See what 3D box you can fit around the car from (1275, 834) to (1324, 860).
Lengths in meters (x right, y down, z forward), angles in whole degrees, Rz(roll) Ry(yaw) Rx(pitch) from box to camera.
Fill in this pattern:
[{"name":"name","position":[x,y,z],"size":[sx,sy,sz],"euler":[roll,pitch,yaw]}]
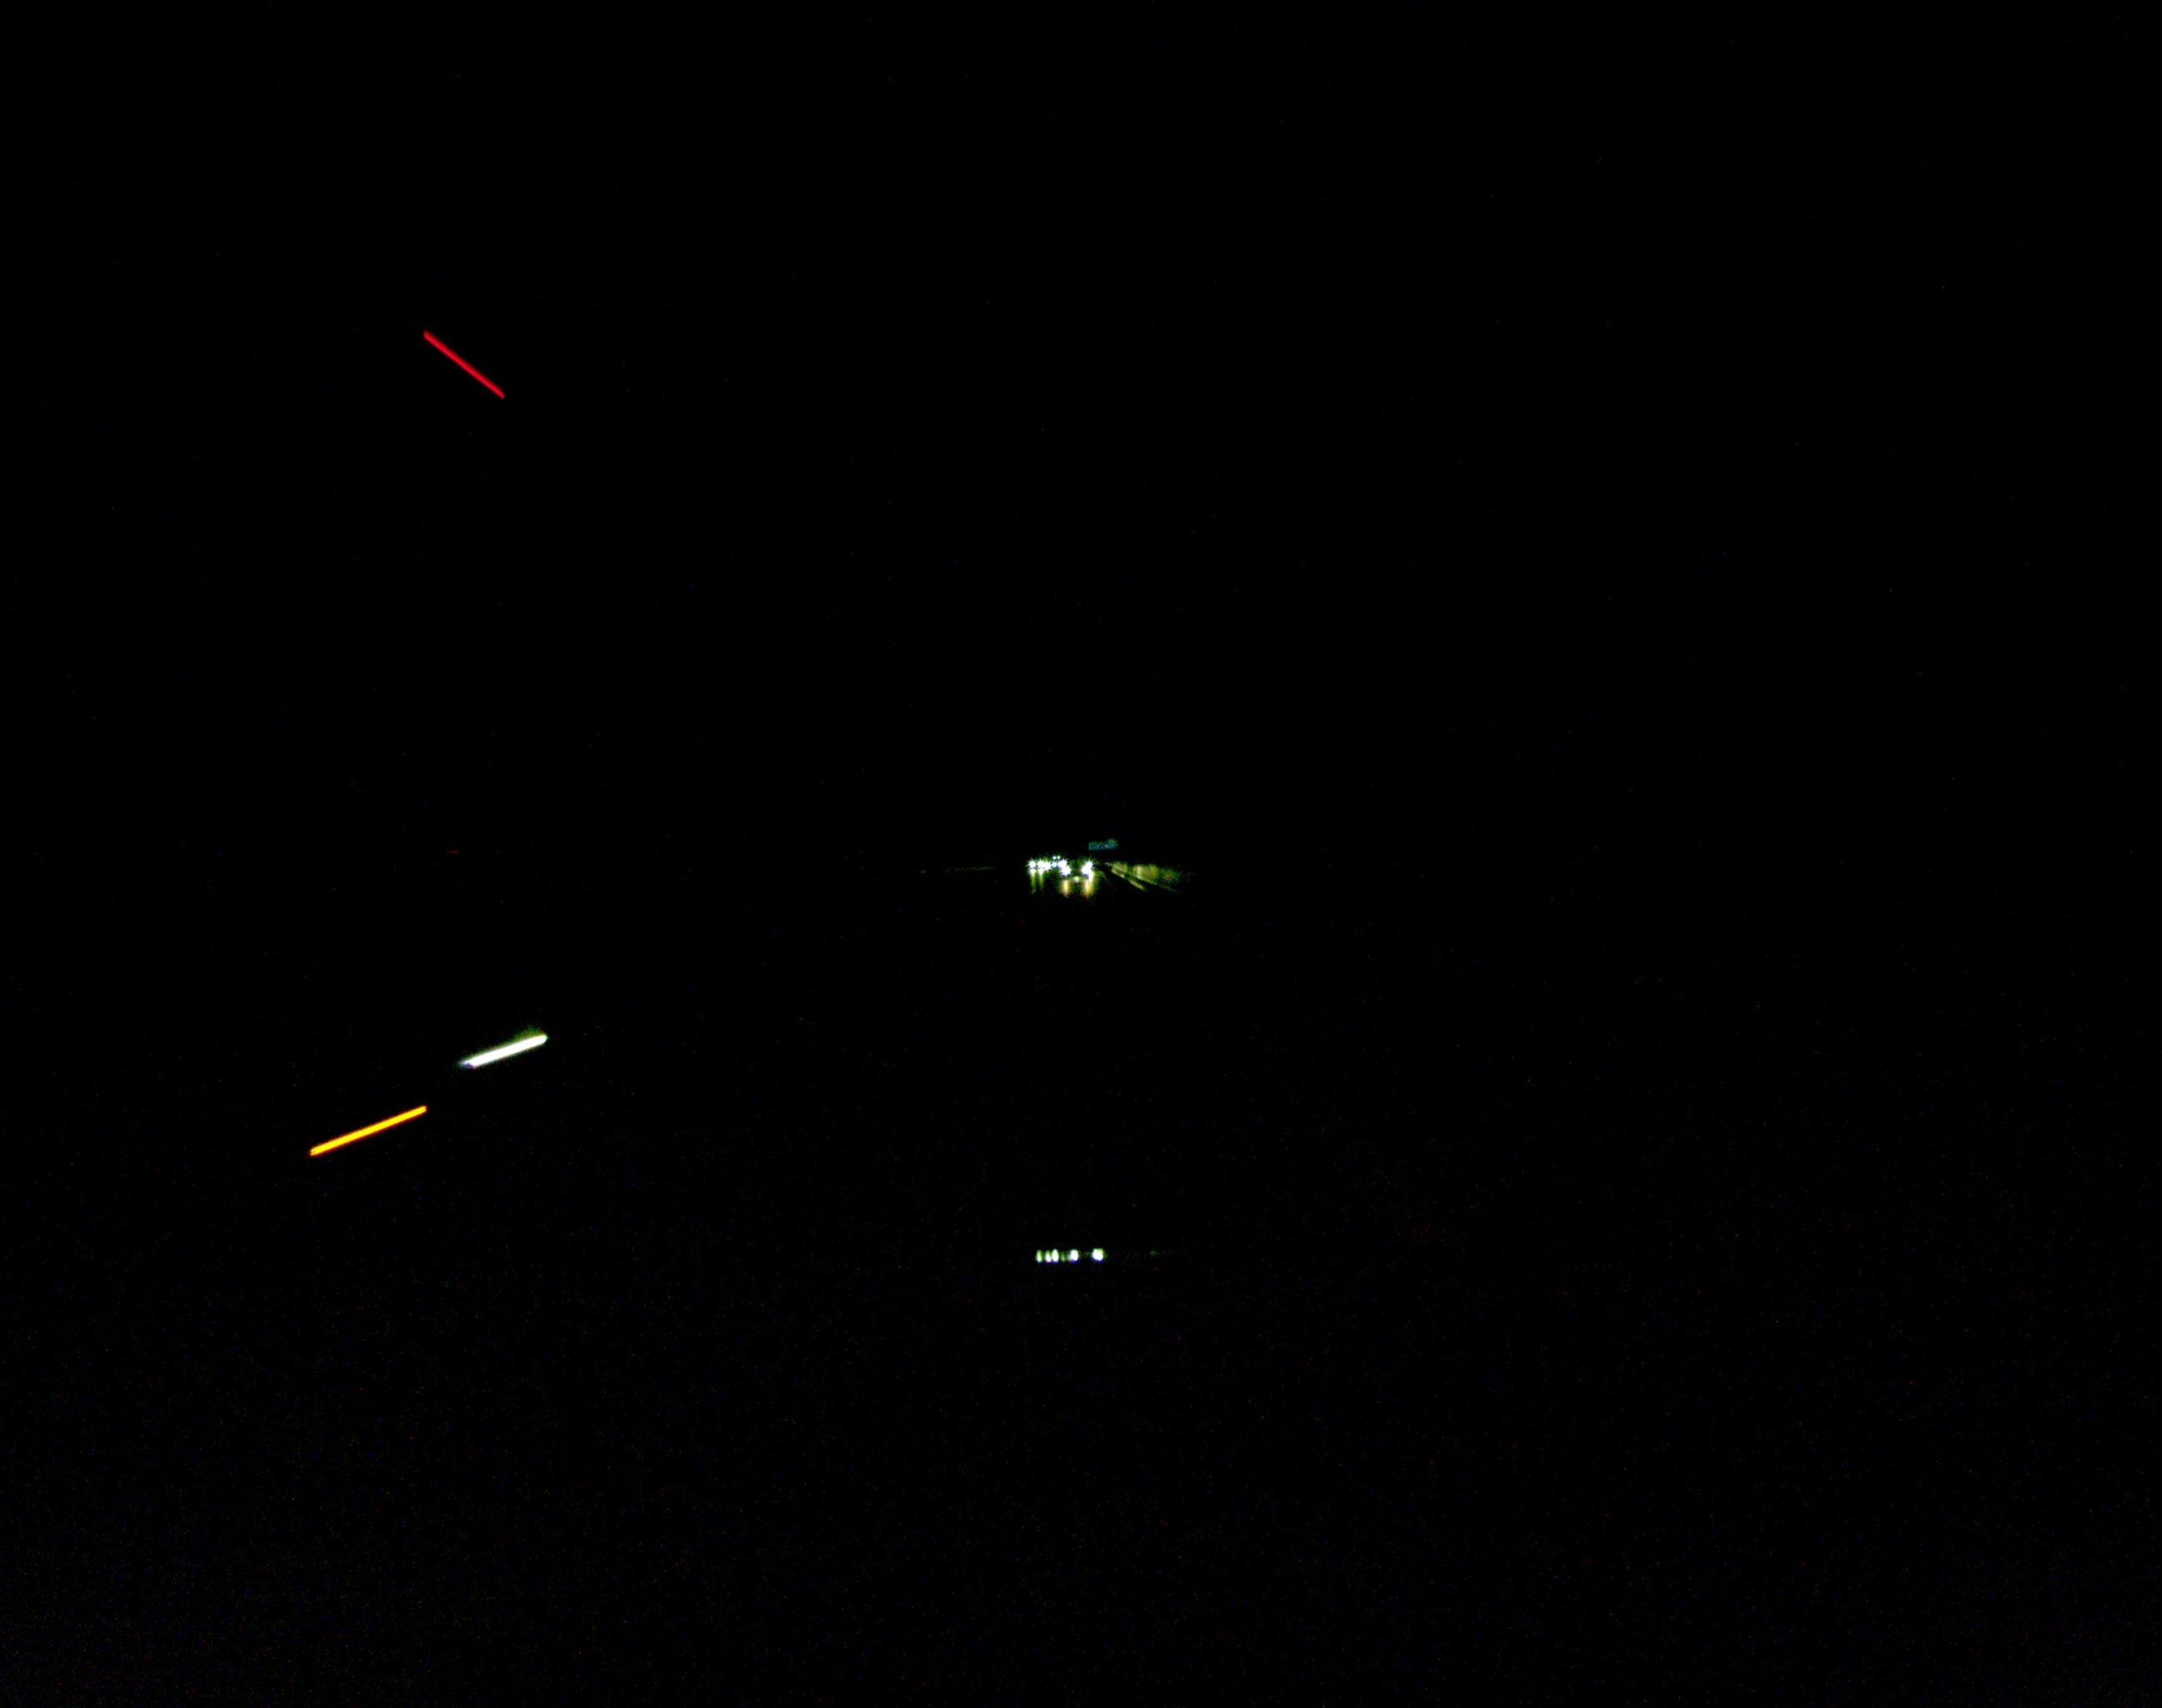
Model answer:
[{"name":"car","position":[15.826,-0.438,55.346],"size":[1.998,1.626,4.748],"euler":[-5,-1,-1]}]

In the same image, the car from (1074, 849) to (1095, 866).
[{"name":"car","position":[0.422,0.403,82.562],"size":[2.012,1.652,4.001],"euler":[-5,-1,1]}]

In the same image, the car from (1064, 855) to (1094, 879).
[{"name":"car","position":[-0.200,0.901,51.853],"size":[1.840,1.392,5.069],"euler":[-6,-1,-2]}]

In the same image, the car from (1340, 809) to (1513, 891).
[{"name":"car","position":[8.437,-0.065,19.129],"size":[1.998,1.626,4.748],"euler":[-5,-1,-1]}]

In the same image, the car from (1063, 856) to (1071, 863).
[{"name":"car","position":[-3.545,1.534,195.823],"size":[1.939,1.608,4.000],"euler":[-5,-1,-1]}]

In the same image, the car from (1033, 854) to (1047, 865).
[{"name":"car","position":[-6.940,0.948,128.097],"size":[1.999,1.707,5.168],"euler":[-6,-1,-1]}]

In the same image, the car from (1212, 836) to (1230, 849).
[{"name":"car","position":[21.790,-1.717,118.121],"size":[1.999,1.914,3.999],"euler":[-2,0,-1]}]
